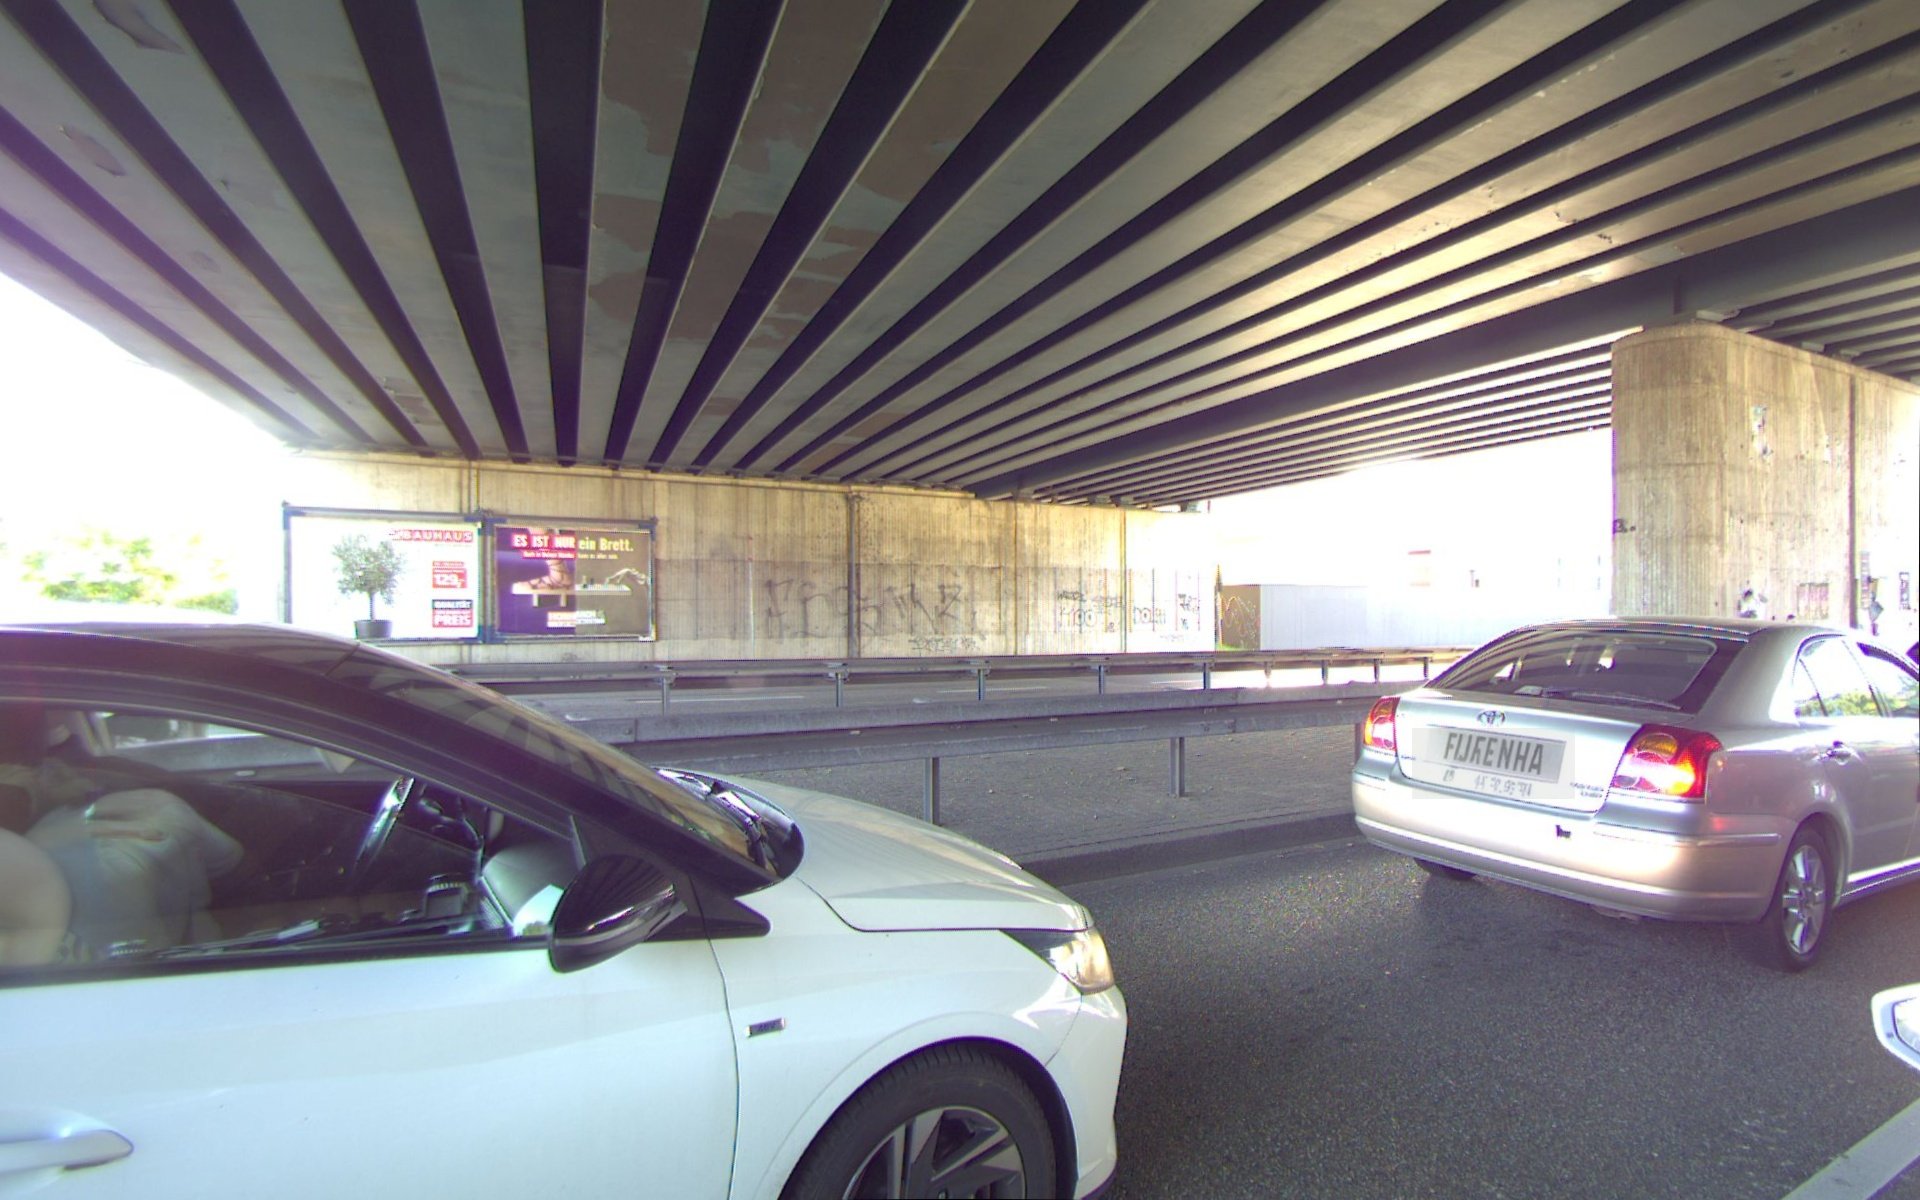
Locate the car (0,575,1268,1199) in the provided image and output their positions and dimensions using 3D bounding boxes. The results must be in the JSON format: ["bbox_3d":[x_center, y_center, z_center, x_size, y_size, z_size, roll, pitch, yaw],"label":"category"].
[{"bbox_3d":[-1.428,0.727,1.966,3.946,1.499,1.724,1,-1,-32],"label":"car"}]

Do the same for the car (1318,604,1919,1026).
[{"bbox_3d":[4.063,0.813,5.446,4.270,1.499,1.724,1,-1,-32],"label":"car"}]

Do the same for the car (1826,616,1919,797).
[{"bbox_3d":[9.538,0.885,8.862,3.687,1.457,1.804,0,0,-31],"label":"car"}]
